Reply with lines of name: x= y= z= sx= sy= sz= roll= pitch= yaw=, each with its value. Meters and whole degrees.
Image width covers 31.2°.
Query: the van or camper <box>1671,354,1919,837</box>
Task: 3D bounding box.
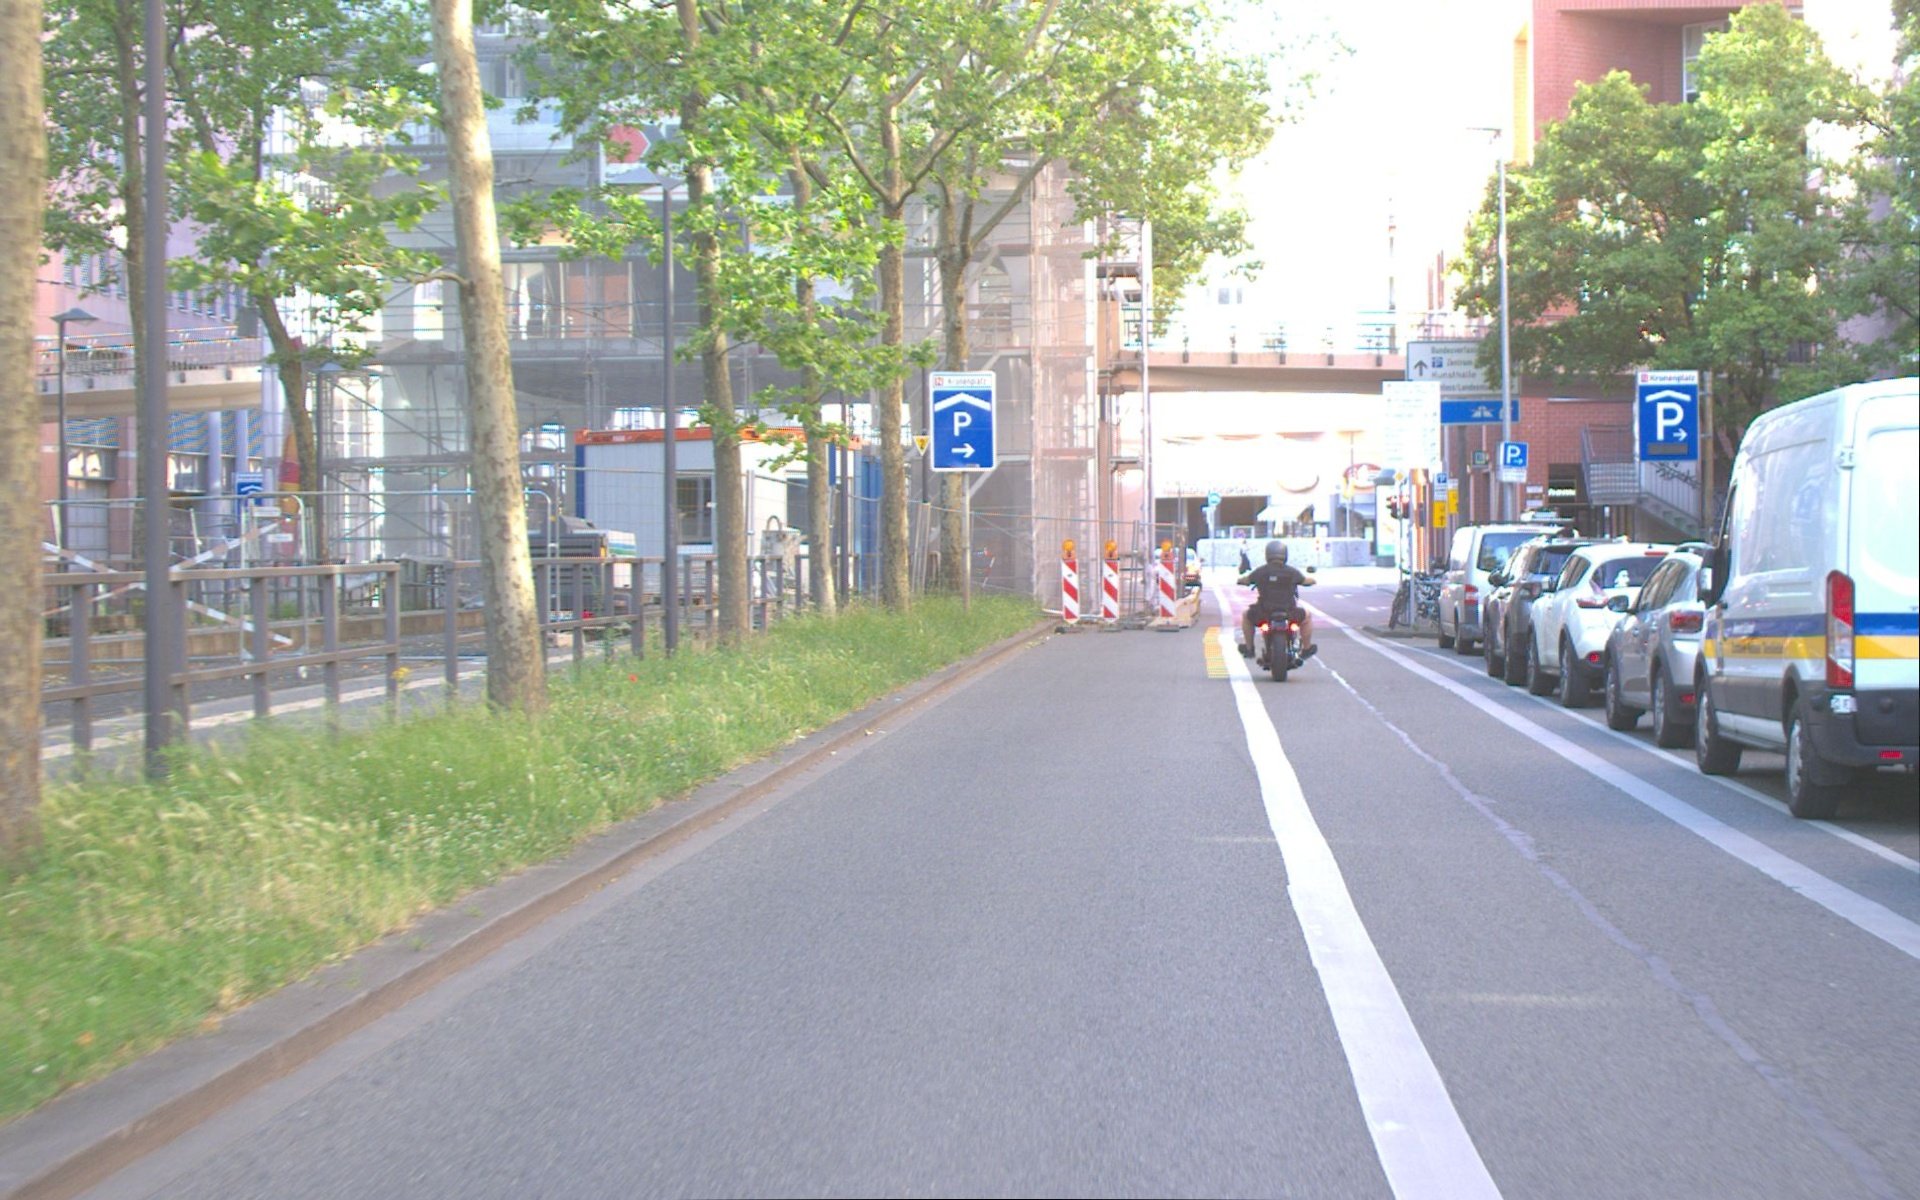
van or camper: x=5.786 y=-0.077 z=20.878 sx=2.049 sy=2.532 sz=5.772 roll=0 pitch=1 yaw=3

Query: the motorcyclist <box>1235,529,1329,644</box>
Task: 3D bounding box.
motorcyclist: x=3.656 y=-0.154 z=39.039 sx=1.012 sy=1.258 sz=0.774 roll=2 pitch=1 yaw=6

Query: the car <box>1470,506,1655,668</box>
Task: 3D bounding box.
car: x=7.788 y=-0.197 z=44.789 sx=1.835 sy=2.007 sz=4.388 roll=0 pitch=1 yaw=3

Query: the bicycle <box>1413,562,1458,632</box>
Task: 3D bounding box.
bicycle: x=8.614 y=-0.067 z=62.331 sx=0.664 sy=1.230 sz=2.228 roll=0 pitch=1 yaw=5

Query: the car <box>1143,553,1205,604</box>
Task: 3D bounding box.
car: x=7.297 y=-0.756 z=117.507 sx=1.851 sy=1.711 sz=4.000 roll=0 pitch=1 yaw=0

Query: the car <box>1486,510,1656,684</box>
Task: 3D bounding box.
car: x=6.835 y=-0.065 z=38.748 sx=1.620 sy=1.859 sz=3.774 roll=0 pitch=1 yaw=6

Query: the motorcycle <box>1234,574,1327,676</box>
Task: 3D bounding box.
motorcycle: x=3.632 y=0.265 z=38.902 sx=1.018 sy=1.093 sz=2.007 roll=0 pitch=1 yaw=6

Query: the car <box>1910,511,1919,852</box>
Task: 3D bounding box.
car: x=5.253 y=0.418 z=14.192 sx=1.620 sy=1.614 sz=4.485 roll=0 pitch=1 yaw=3

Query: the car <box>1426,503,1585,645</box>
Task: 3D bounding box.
car: x=8.006 y=-0.404 z=50.786 sx=1.835 sy=2.007 sz=4.388 roll=0 pitch=1 yaw=3

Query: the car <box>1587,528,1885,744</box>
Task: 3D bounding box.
car: x=6.144 y=0.238 z=27.576 sx=1.620 sy=1.598 sz=3.774 roll=0 pitch=1 yaw=2

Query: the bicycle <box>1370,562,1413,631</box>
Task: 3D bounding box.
bicycle: x=7.832 y=-0.074 z=62.422 sx=0.664 sy=1.230 sz=2.228 roll=0 pitch=1 yaw=5

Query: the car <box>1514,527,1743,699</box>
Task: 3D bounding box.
car: x=6.575 y=0.090 z=34.135 sx=1.620 sy=1.604 sz=3.774 roll=0 pitch=1 yaw=2
